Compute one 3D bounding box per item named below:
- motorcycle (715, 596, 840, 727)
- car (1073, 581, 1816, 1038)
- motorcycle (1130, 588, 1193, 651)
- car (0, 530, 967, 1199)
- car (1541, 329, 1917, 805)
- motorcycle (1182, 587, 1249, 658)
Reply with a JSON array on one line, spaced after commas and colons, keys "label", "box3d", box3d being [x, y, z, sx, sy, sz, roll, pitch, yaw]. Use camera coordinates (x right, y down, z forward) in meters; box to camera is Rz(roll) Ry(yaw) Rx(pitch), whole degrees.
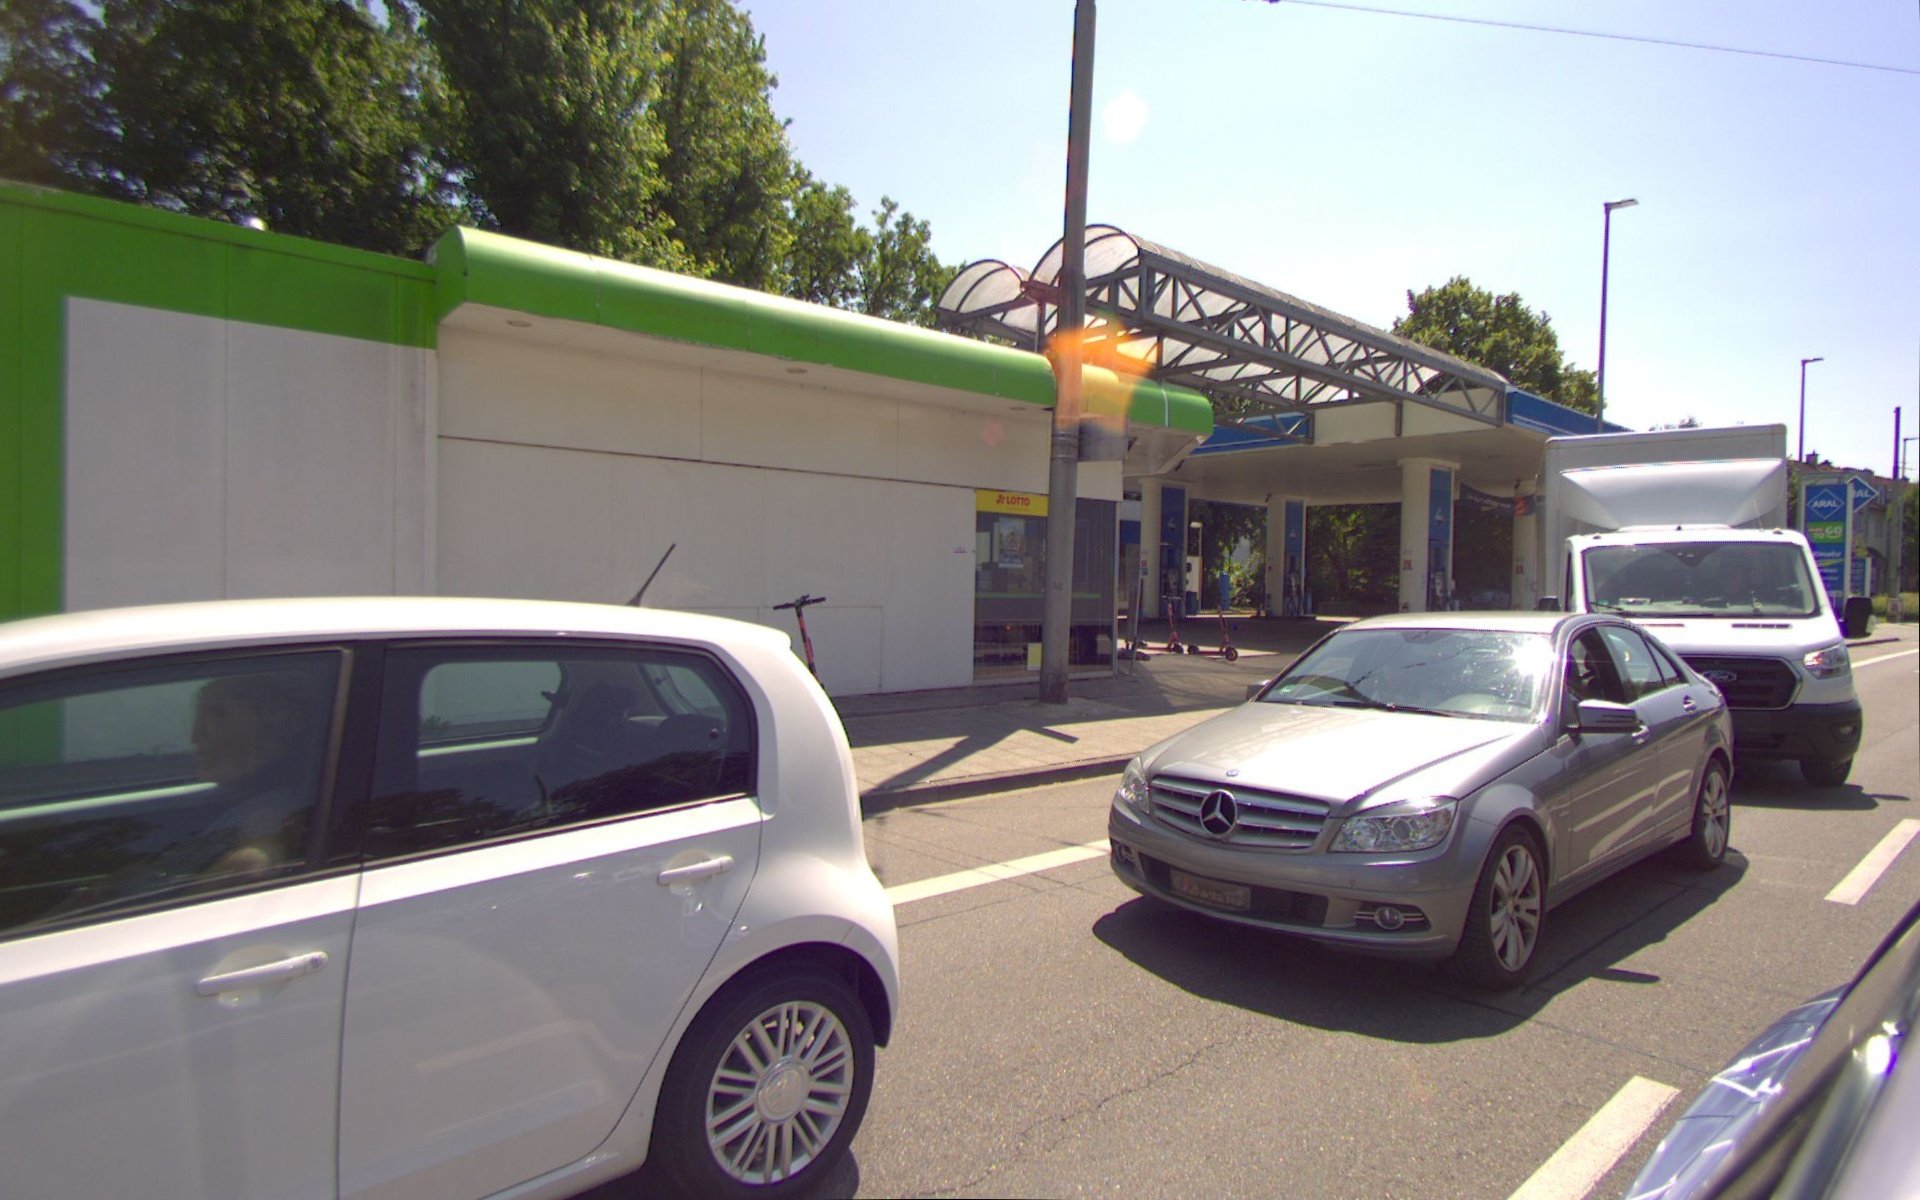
[{"label": "motorcycle", "box3d": [-1.667, 0.544, 9.316, 1.098, 1.118, 0.253, -1, 7, -40]}, {"label": "car", "box3d": [3.062, 0.703, 5.648, 5.206, 1.492, 1.716, 0, -1, -40]}, {"label": "motorcycle", "box3d": [3.947, 0.370, 19.913, 0.389, 1.127, 1.156, 2, 2, -41]}, {"label": "car", "box3d": [-1.782, 0.625, 2.301, 3.374, 1.466, 1.612, 1, 0, -40]}, {"label": "car", "box3d": [7.922, -0.270, 11.476, 2.211, 3.377, 8.546, 0, 0, 29]}, {"label": "motorcycle", "box3d": [4.776, 0.410, 18.981, 0.357, 1.225, 1.156, 2, 2, -41]}]
